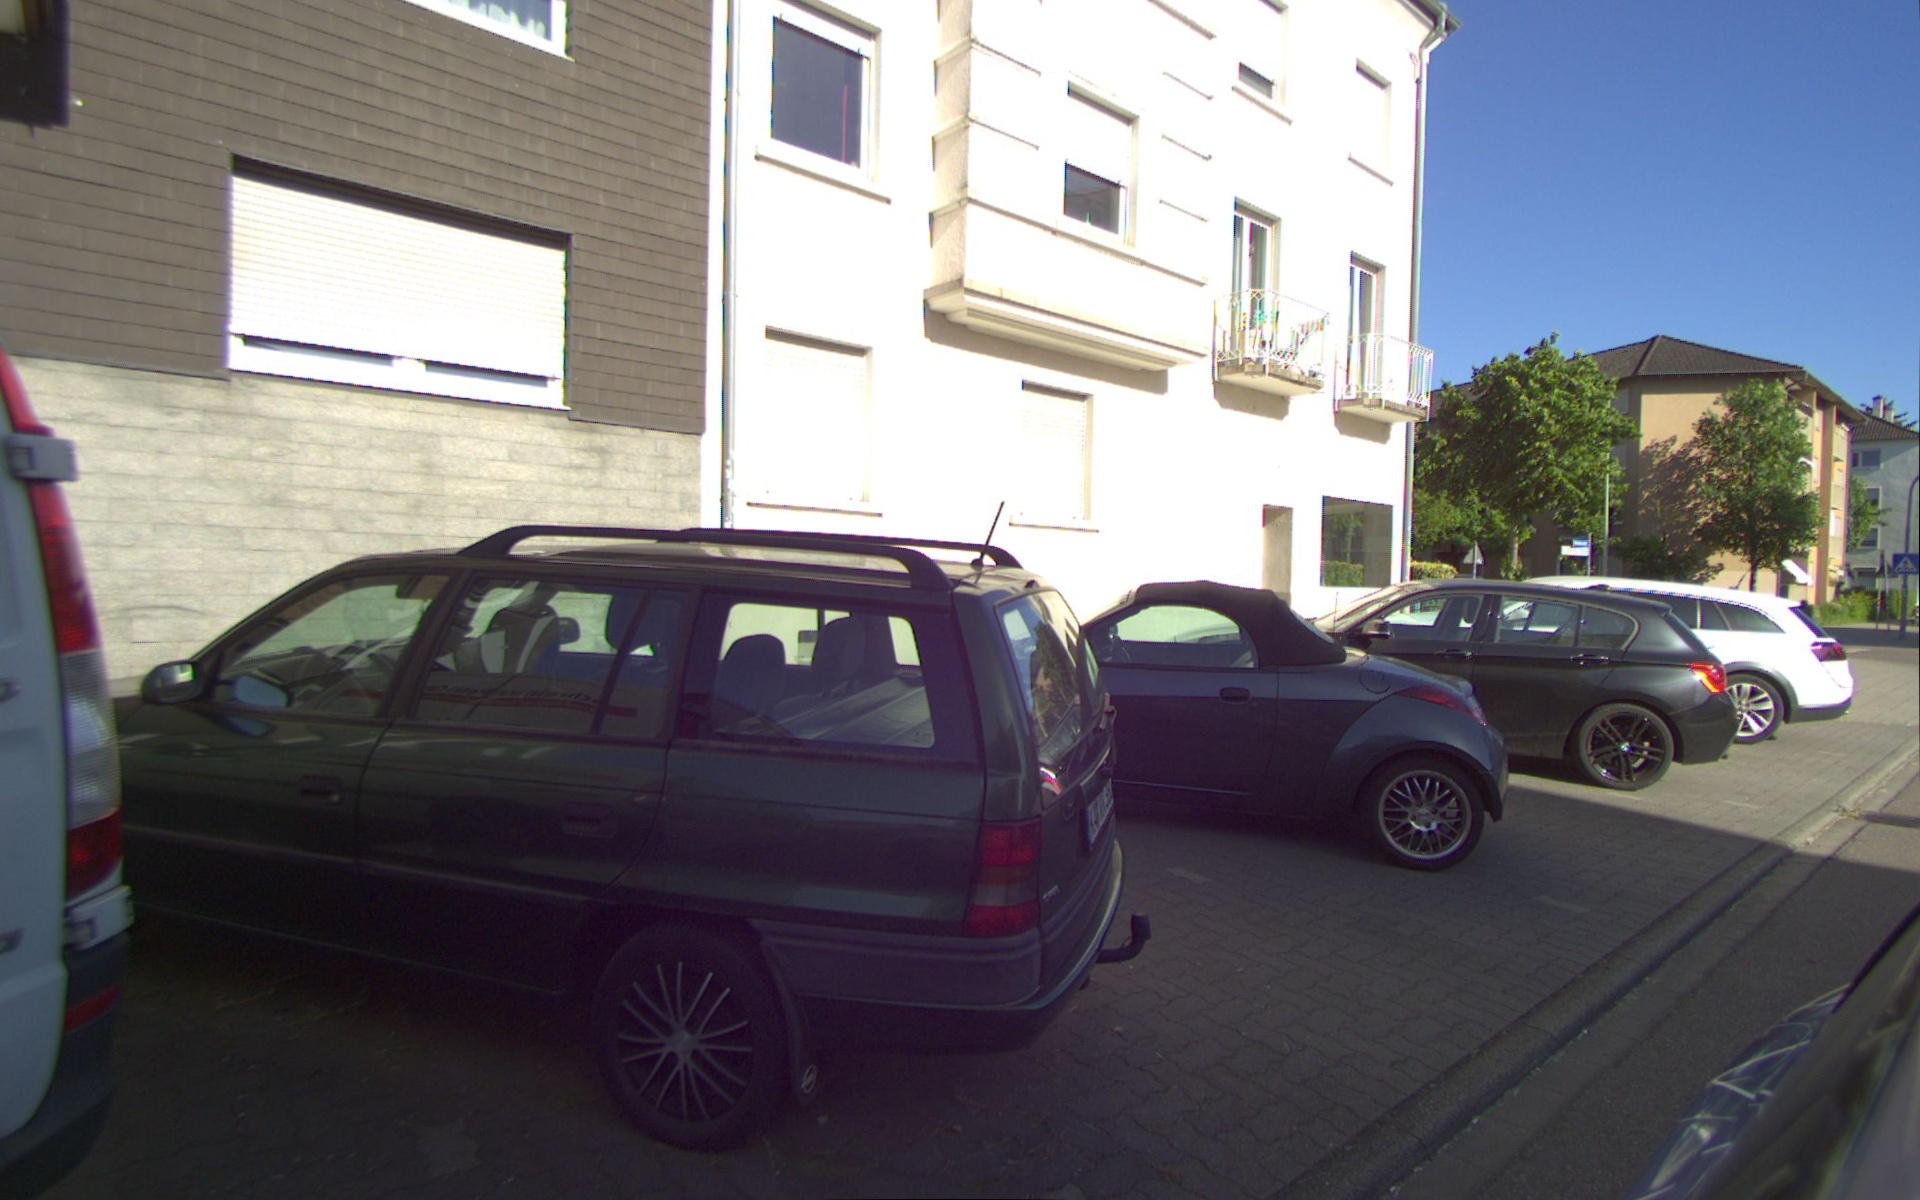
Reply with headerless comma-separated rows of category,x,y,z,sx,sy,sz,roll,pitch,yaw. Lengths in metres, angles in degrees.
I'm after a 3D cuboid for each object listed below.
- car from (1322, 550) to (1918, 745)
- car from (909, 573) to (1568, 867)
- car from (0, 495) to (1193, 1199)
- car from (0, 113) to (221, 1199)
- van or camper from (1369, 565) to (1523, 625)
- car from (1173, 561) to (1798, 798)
car,6.528,0.380,10.737,4.805,1.481,1.964,4,2,15
car,1.491,0.576,6.104,3.342,1.405,1.536,1,1,10
car,-1.331,0.489,3.431,3.946,1.506,1.608,4,5,18
car,-3.654,0.220,1.130,4.456,1.920,2.046,3,4,9
van or camper,17.330,-0.250,36.477,1.954,1.885,5.400,-1,3,-15
car,3.917,0.488,8.320,4.113,1.515,1.815,2,3,16
